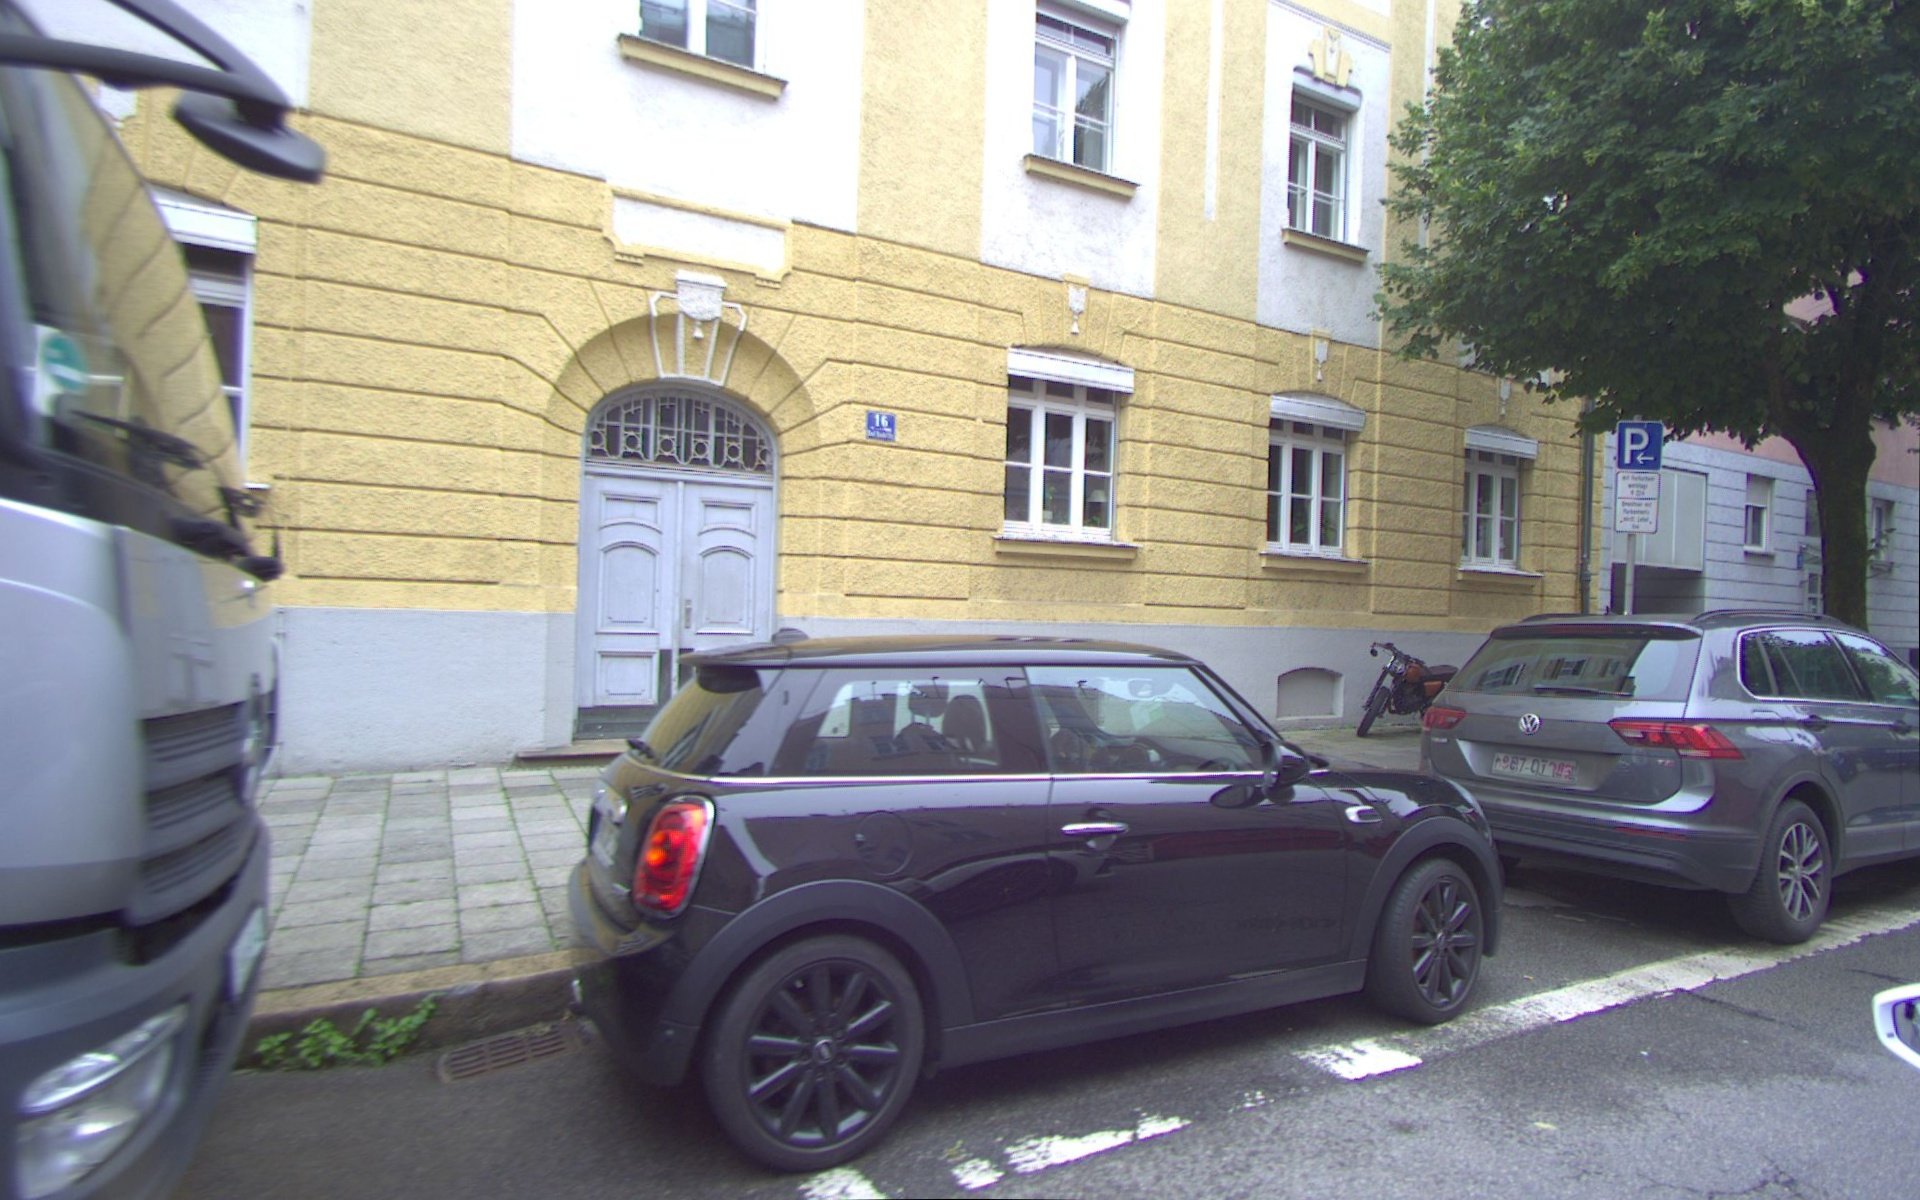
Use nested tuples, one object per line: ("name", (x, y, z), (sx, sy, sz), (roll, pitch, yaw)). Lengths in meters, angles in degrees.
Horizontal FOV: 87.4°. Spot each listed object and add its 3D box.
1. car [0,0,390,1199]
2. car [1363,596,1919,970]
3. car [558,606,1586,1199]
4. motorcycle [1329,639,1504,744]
("car", (-5.283, -0.647, 0.414), (8.618, 3.868, 2.800), (2, -1, -29))
("car", (4.650, 0.873, 6.204), (4.133, 1.650, 1.778), (2, -1, -28))
("car", (0.483, 0.805, 3.928), (3.661, 1.428, 1.693), (2, -1, -27))
("motorcycle", (5.493, 1.062, 12.031), (2.400, 1.142, 0.635), (2, 0, -31))
